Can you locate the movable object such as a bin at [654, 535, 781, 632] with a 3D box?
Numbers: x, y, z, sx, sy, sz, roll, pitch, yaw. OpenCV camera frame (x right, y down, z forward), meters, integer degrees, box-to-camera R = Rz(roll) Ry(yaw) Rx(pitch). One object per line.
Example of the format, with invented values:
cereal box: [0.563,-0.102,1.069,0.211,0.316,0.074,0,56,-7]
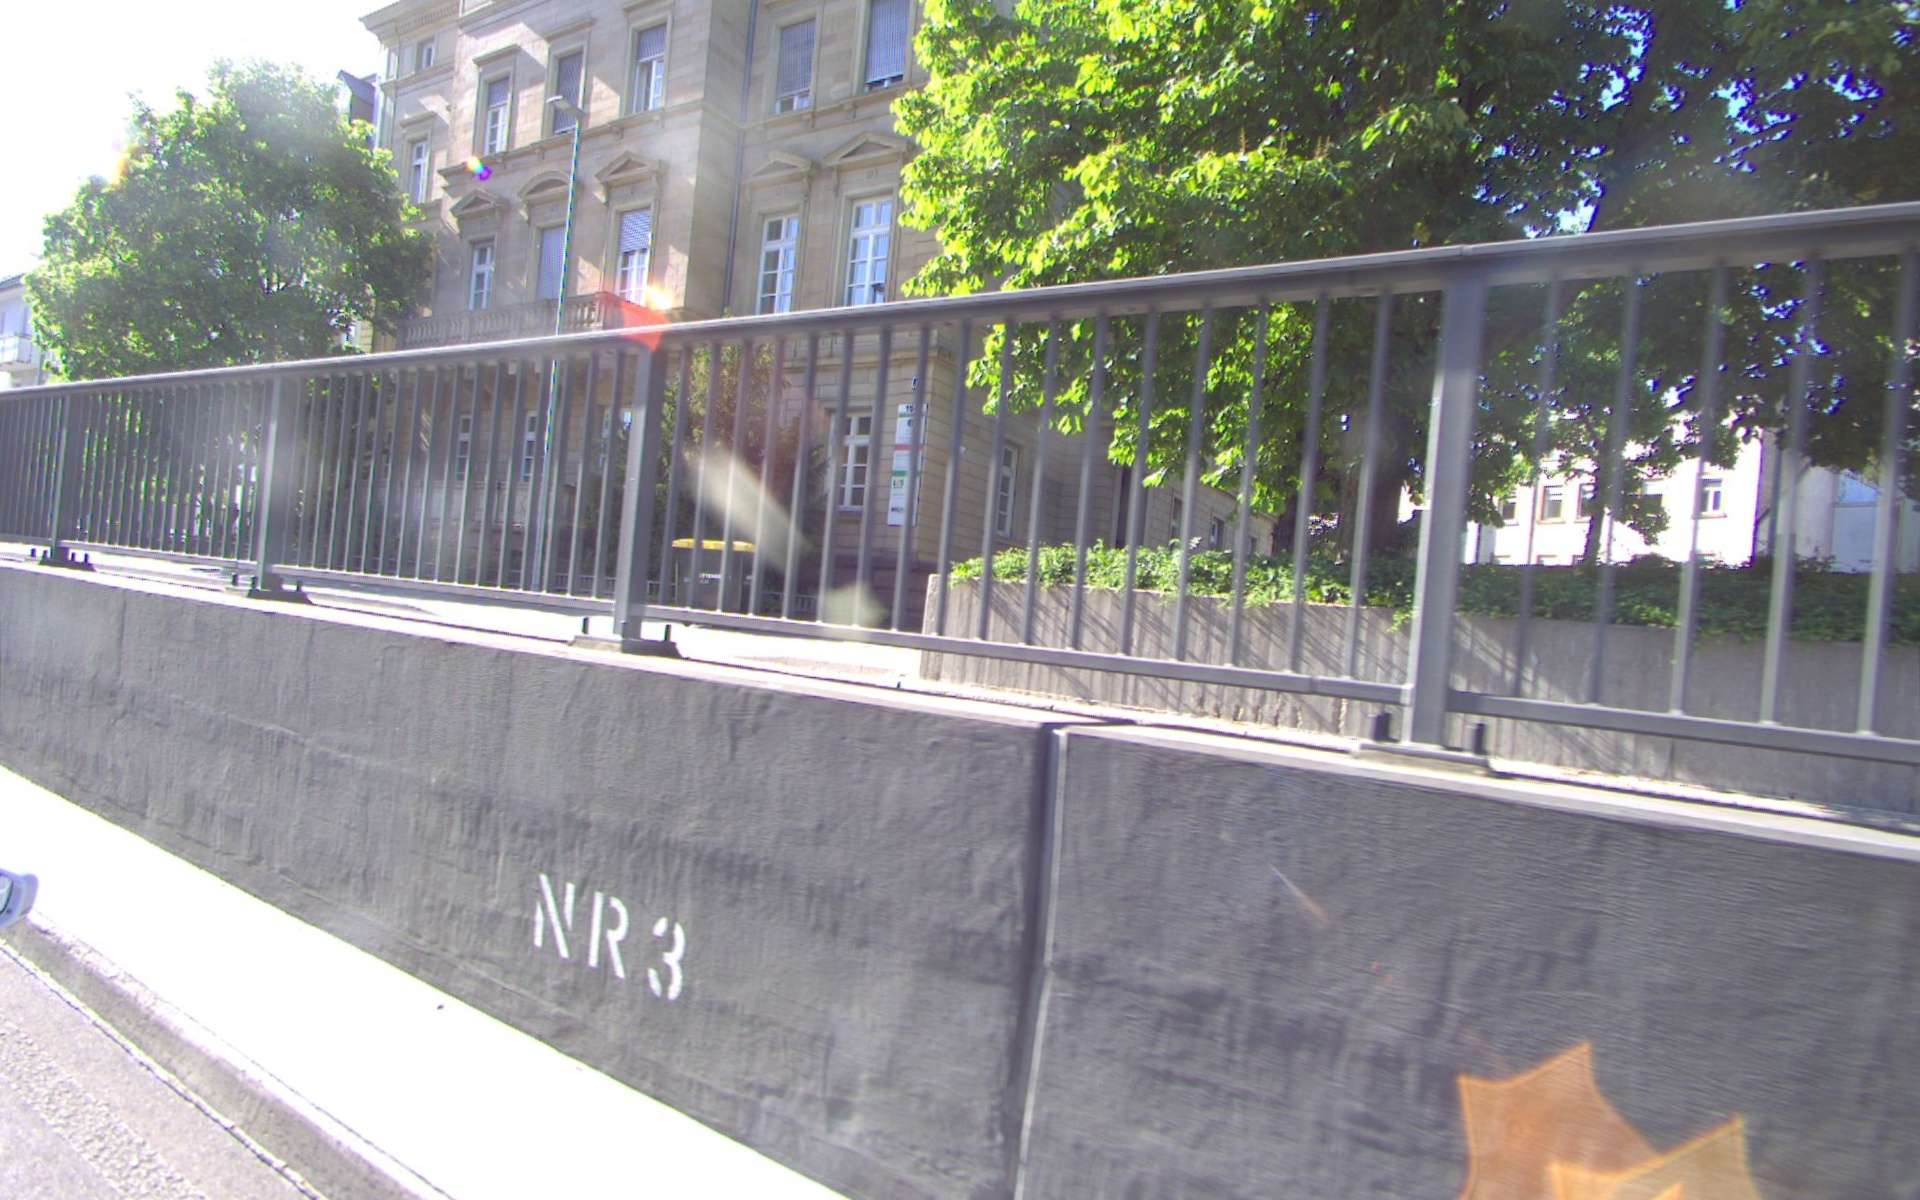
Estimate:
movable object such as a bin: [-3.820,-0.291,15.992,1.383,1.344,1.448,6,5,14]
